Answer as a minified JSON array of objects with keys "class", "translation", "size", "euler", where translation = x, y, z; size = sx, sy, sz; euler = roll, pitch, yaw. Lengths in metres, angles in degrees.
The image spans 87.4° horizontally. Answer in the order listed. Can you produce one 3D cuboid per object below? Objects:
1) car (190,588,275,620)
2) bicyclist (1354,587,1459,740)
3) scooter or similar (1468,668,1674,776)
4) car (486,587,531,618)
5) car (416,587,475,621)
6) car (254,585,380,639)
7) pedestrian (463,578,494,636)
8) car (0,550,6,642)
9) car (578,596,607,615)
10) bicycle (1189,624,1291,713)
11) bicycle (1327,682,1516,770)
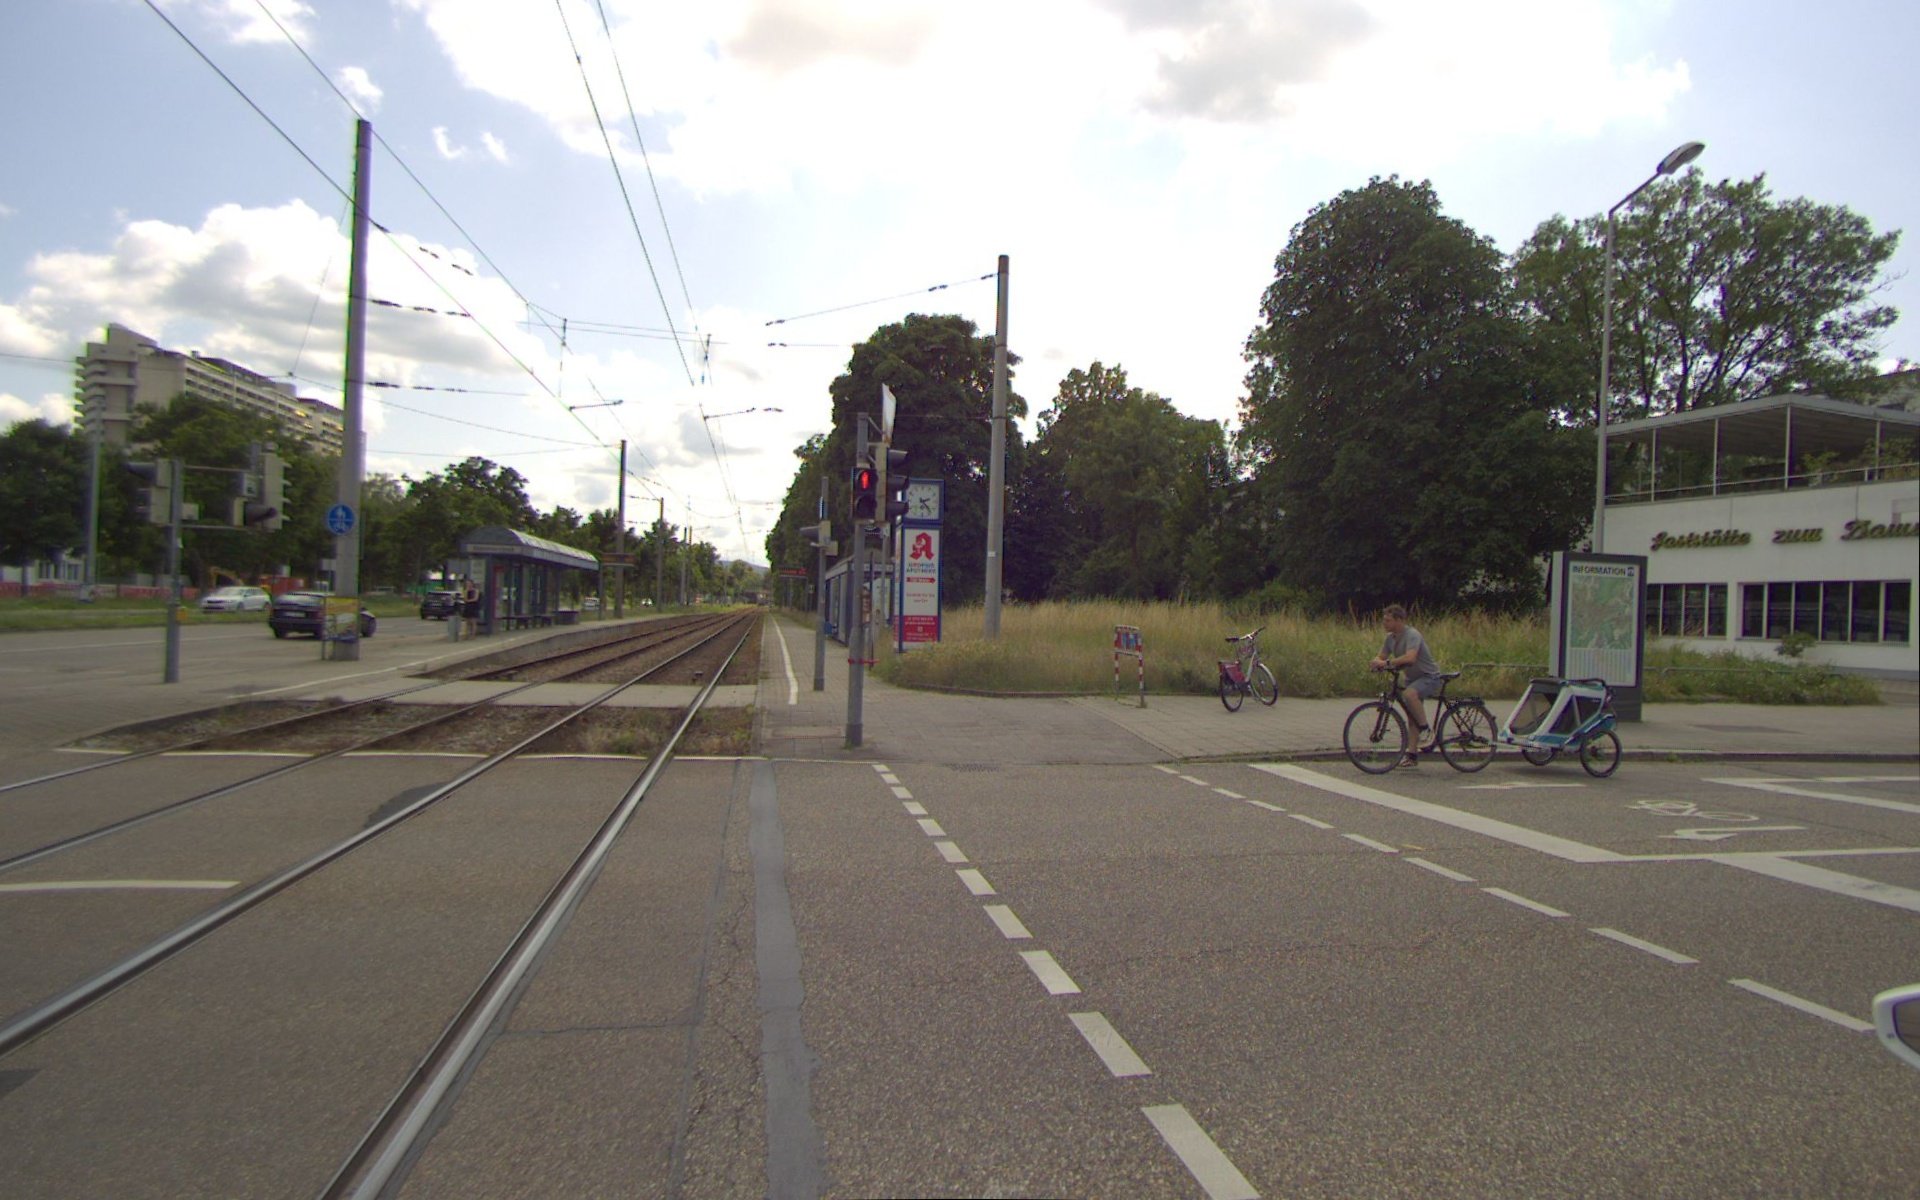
[{"class":"car","translation":[-38.534,0.218,53.345],"size":[1.965,1.524,4.165],"euler":[3,-1,-11]},{"class":"bicyclist","translation":[4.513,0.631,10.167],"size":[0.826,1.495,0.455],"euler":[2,0,-9]},{"class":"scooter or similar","translation":[6.265,1.234,10.355],"size":[1.551,0.992,0.961],"euler":[2,0,-8]},{"class":"car","translation":[-28.488,0.184,63.476],"size":[1.735,1.801,3.900],"euler":[3,-1,-12]},{"class":"car","translation":[-27.626,0.226,54.095],"size":[1.761,1.690,4.329],"euler":[3,-1,-13]},{"class":"car","translation":[-19.917,0.355,31.339],"size":[1.730,1.485,4.424],"euler":[3,-1,-11]},{"class":"pedestrian","translation":[-13.104,0.191,27.356],"size":[0.646,1.534,0.715],"euler":[2,0,-20]},{"class":"car","translation":[-20.651,-0.121,18.498],"size":[1.786,1.944,5.223],"euler":[2,-1,-10]},{"class":"car","translation":[-32.669,0.465,89.418],"size":[1.760,1.545,4.292],"euler":[3,-1,-11]},{"class":"bicycle","translation":[4.069,0.951,14.516],"size":[0.692,1.147,1.650],"euler":[2,2,44]},{"class":"bicycle","translation":[4.672,1.274,10.205],"size":[1.696,0.775,0.554],"euler":[3,-1,-9]}]
